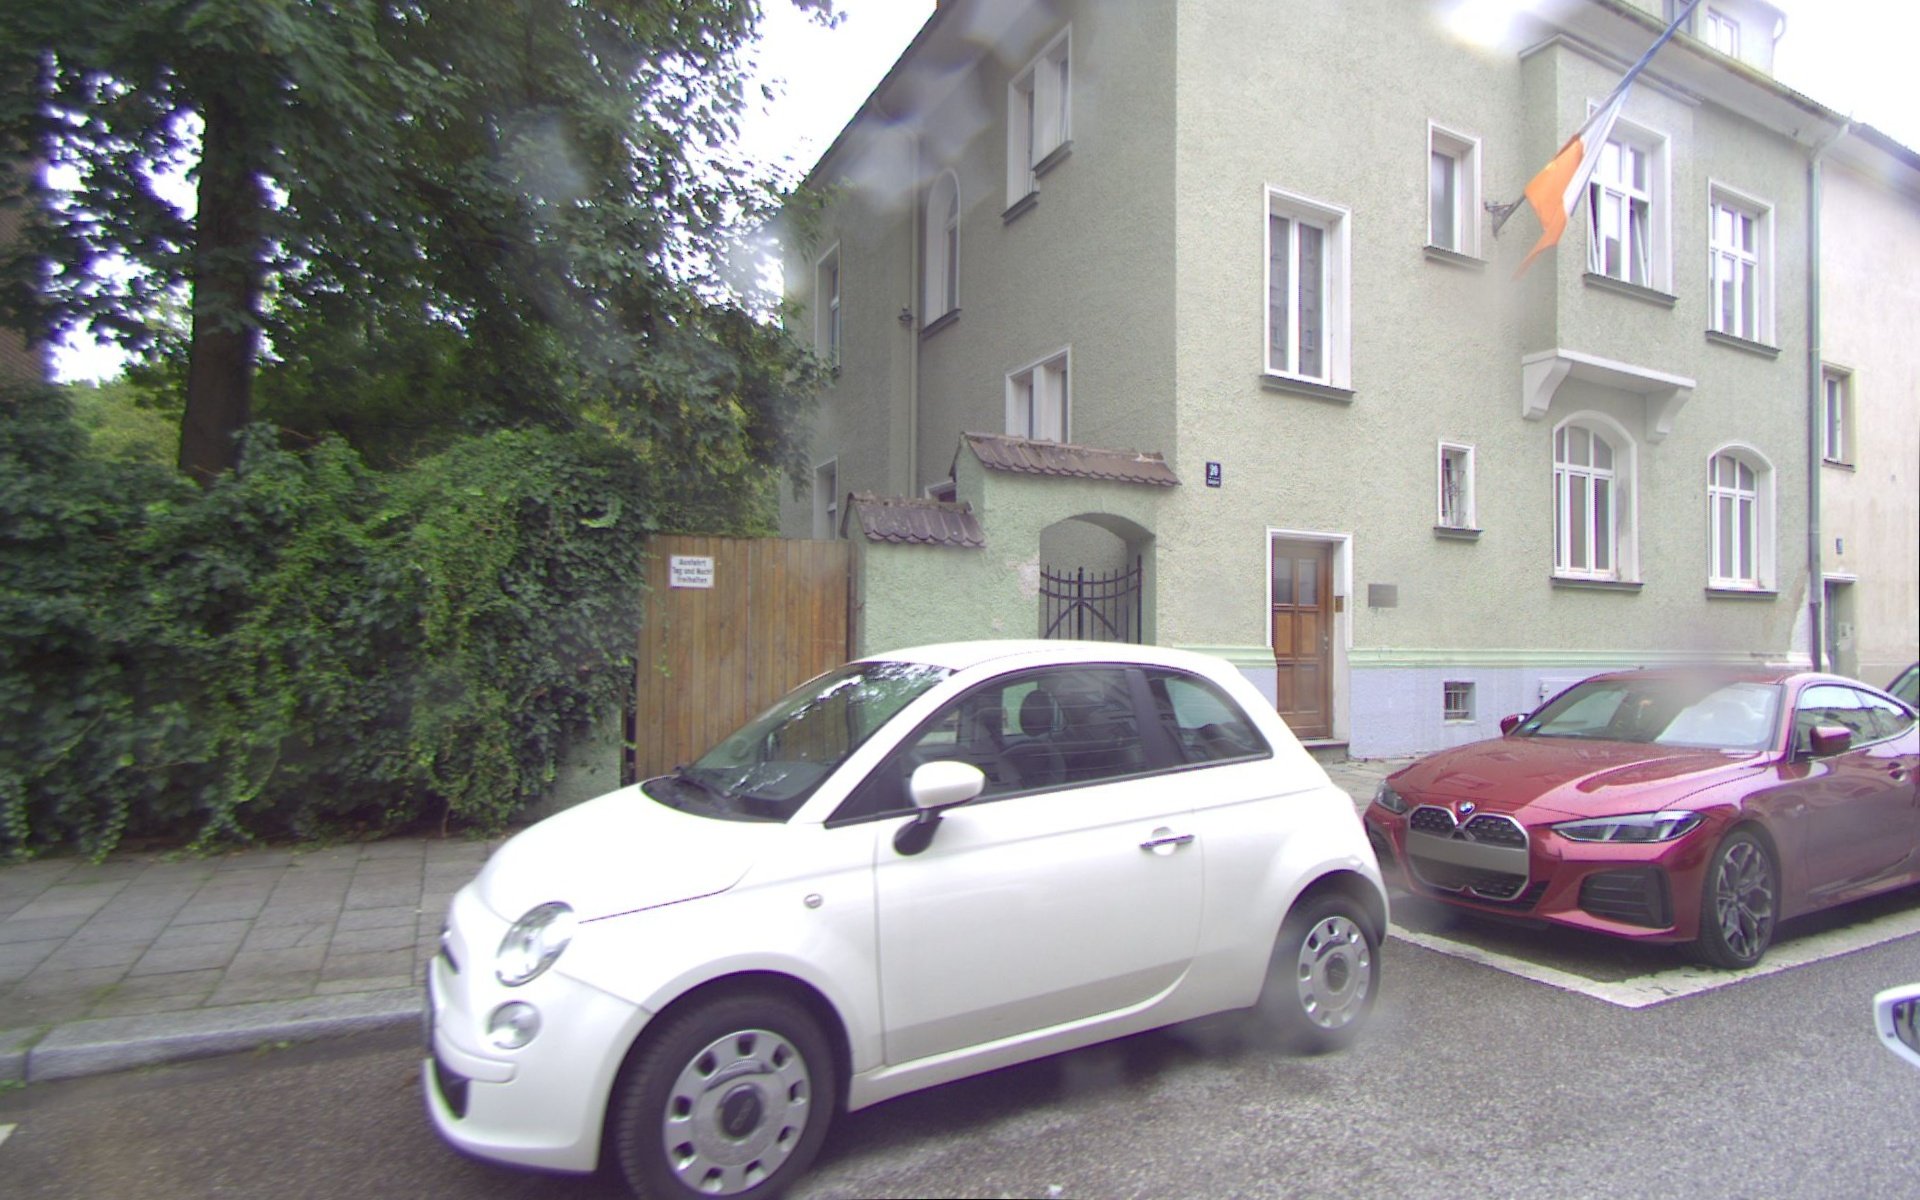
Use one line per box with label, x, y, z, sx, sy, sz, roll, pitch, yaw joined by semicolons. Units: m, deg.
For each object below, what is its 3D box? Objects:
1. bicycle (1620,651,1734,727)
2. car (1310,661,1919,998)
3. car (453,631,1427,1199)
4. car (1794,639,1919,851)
bicycle;9.628;1.164;13.471;1.907;0.919;0.519;1;1;-32
car;4.386;1.114;6.184;4.281;1.431;1.853;2;-4;-29
car;0.009;0.888;3.694;3.274;1.485;1.467;2;-3;-30
car;9.114;1.158;8.631;3.874;1.623;1.680;2;-4;-29
